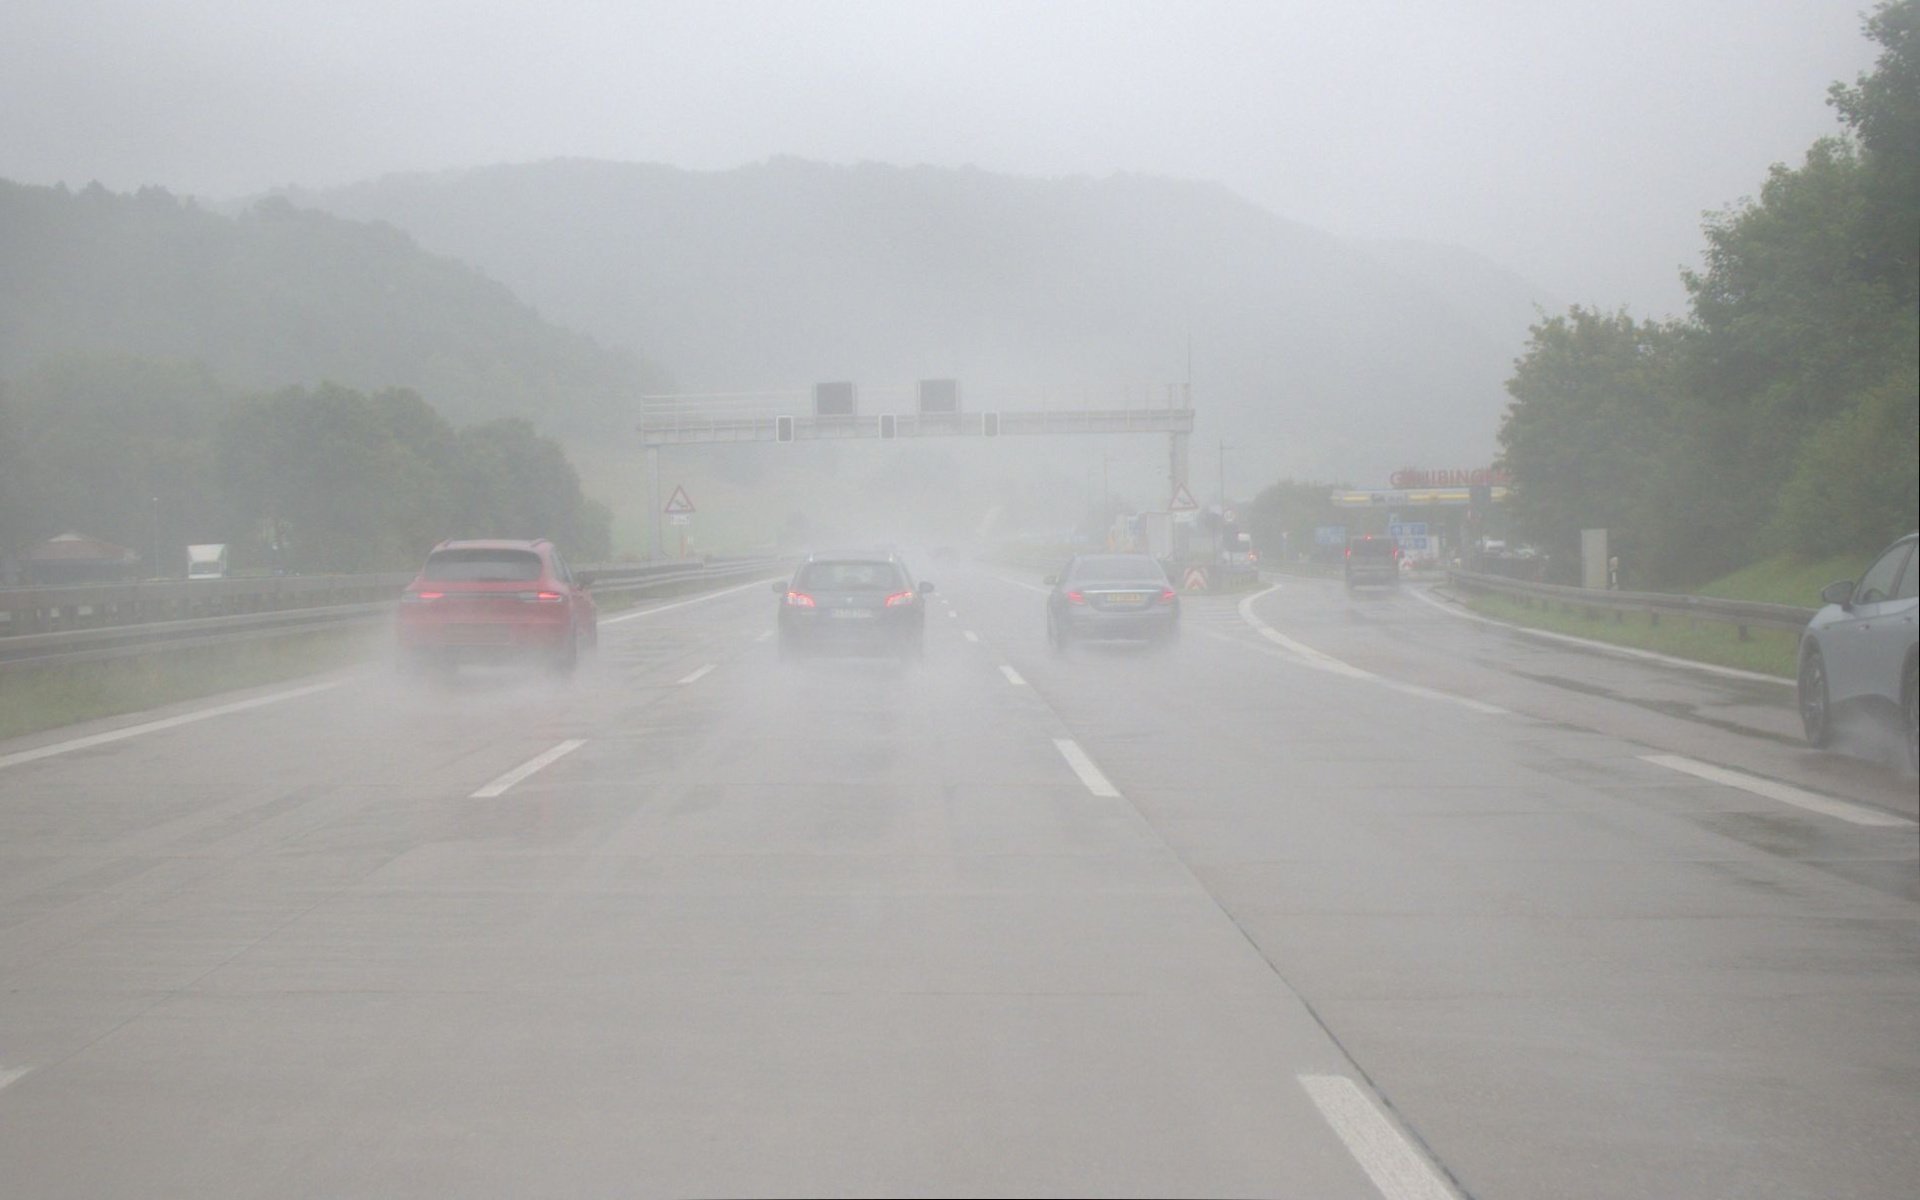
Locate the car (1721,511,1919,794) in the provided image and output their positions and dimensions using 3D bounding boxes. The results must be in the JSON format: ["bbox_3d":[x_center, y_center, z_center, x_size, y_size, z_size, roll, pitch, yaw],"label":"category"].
[{"bbox_3d":[6.898,0.311,23.651,1.993,1.744,5.663,1,1,0],"label":"car"}]

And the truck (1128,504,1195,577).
[{"bbox_3d":[12.578,-3.723,215.485,3.401,4.387,11.050,1,1,0],"label":"truck"}]

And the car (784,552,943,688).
[{"bbox_3d":[-1.161,0.209,42.634,1.859,1.584,4.000,1,1,-1],"label":"car"}]

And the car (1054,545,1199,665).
[{"bbox_3d":[2.500,0.042,52.442,1.971,1.754,4.000,0,1,-1],"label":"car"}]

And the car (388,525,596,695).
[{"bbox_3d":[-5.204,0.069,38.673,1.884,1.809,4.000,0,1,-1],"label":"car"}]

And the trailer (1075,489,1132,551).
[{"bbox_3d":[10.209,-5.649,245.853,3.516,4.247,11.920,1,1,0],"label":"trailer"}]

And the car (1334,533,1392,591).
[{"bbox_3d":[14.297,-1.356,121.924,1.994,2.007,5.053,0,1,7],"label":"car"}]
